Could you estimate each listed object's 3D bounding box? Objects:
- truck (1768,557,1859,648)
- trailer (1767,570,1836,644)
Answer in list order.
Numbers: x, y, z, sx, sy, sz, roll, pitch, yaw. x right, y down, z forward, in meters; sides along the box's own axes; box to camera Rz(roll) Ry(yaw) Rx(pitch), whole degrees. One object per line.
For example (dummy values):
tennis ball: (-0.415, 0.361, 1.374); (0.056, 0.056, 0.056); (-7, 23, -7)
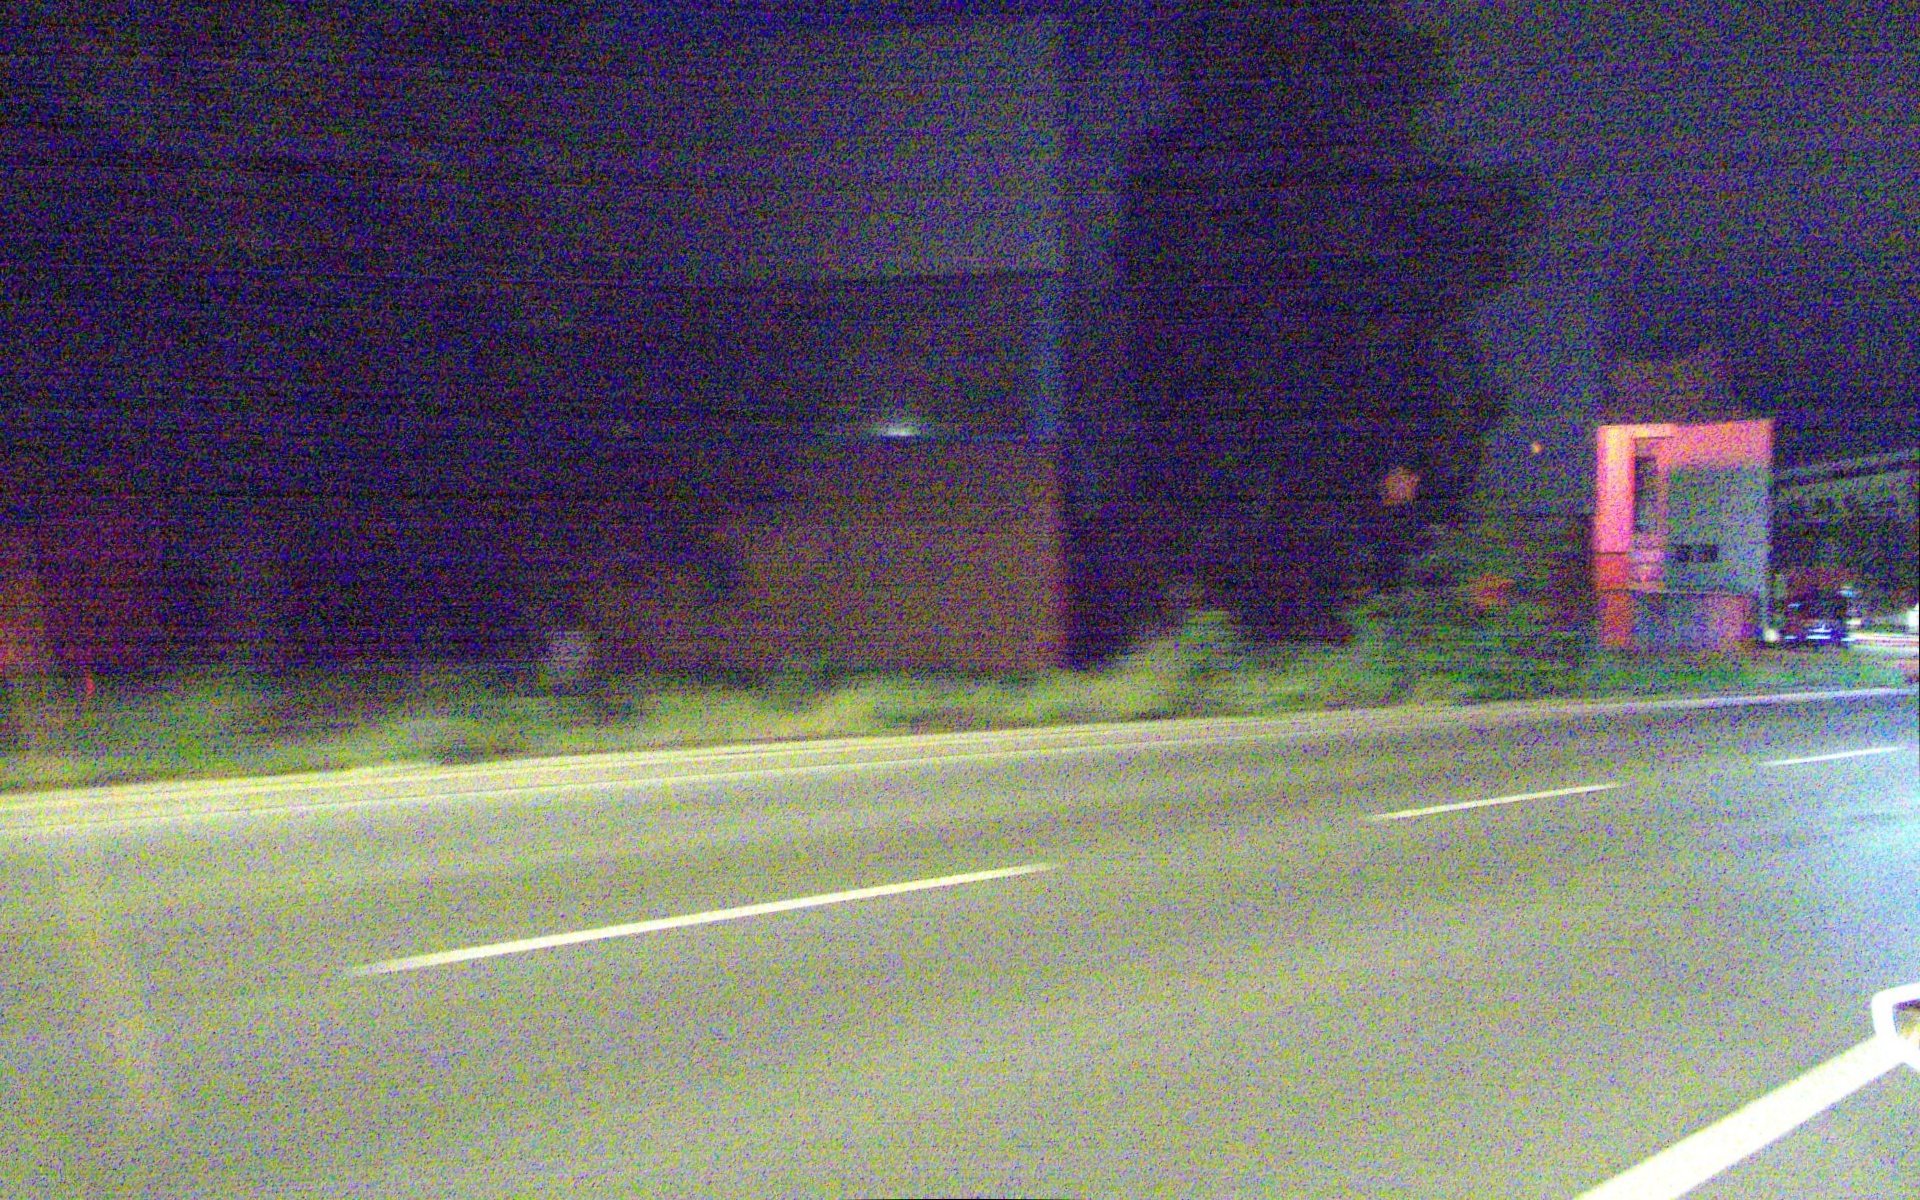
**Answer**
truck: (39.924, 0.179, 47.164); (2.903, 3.847, 9.514); (2, 0, 39)
trailer: (46.357, 0.414, 55.466); (2.580, 3.841, 6.488); (2, 0, 38)
